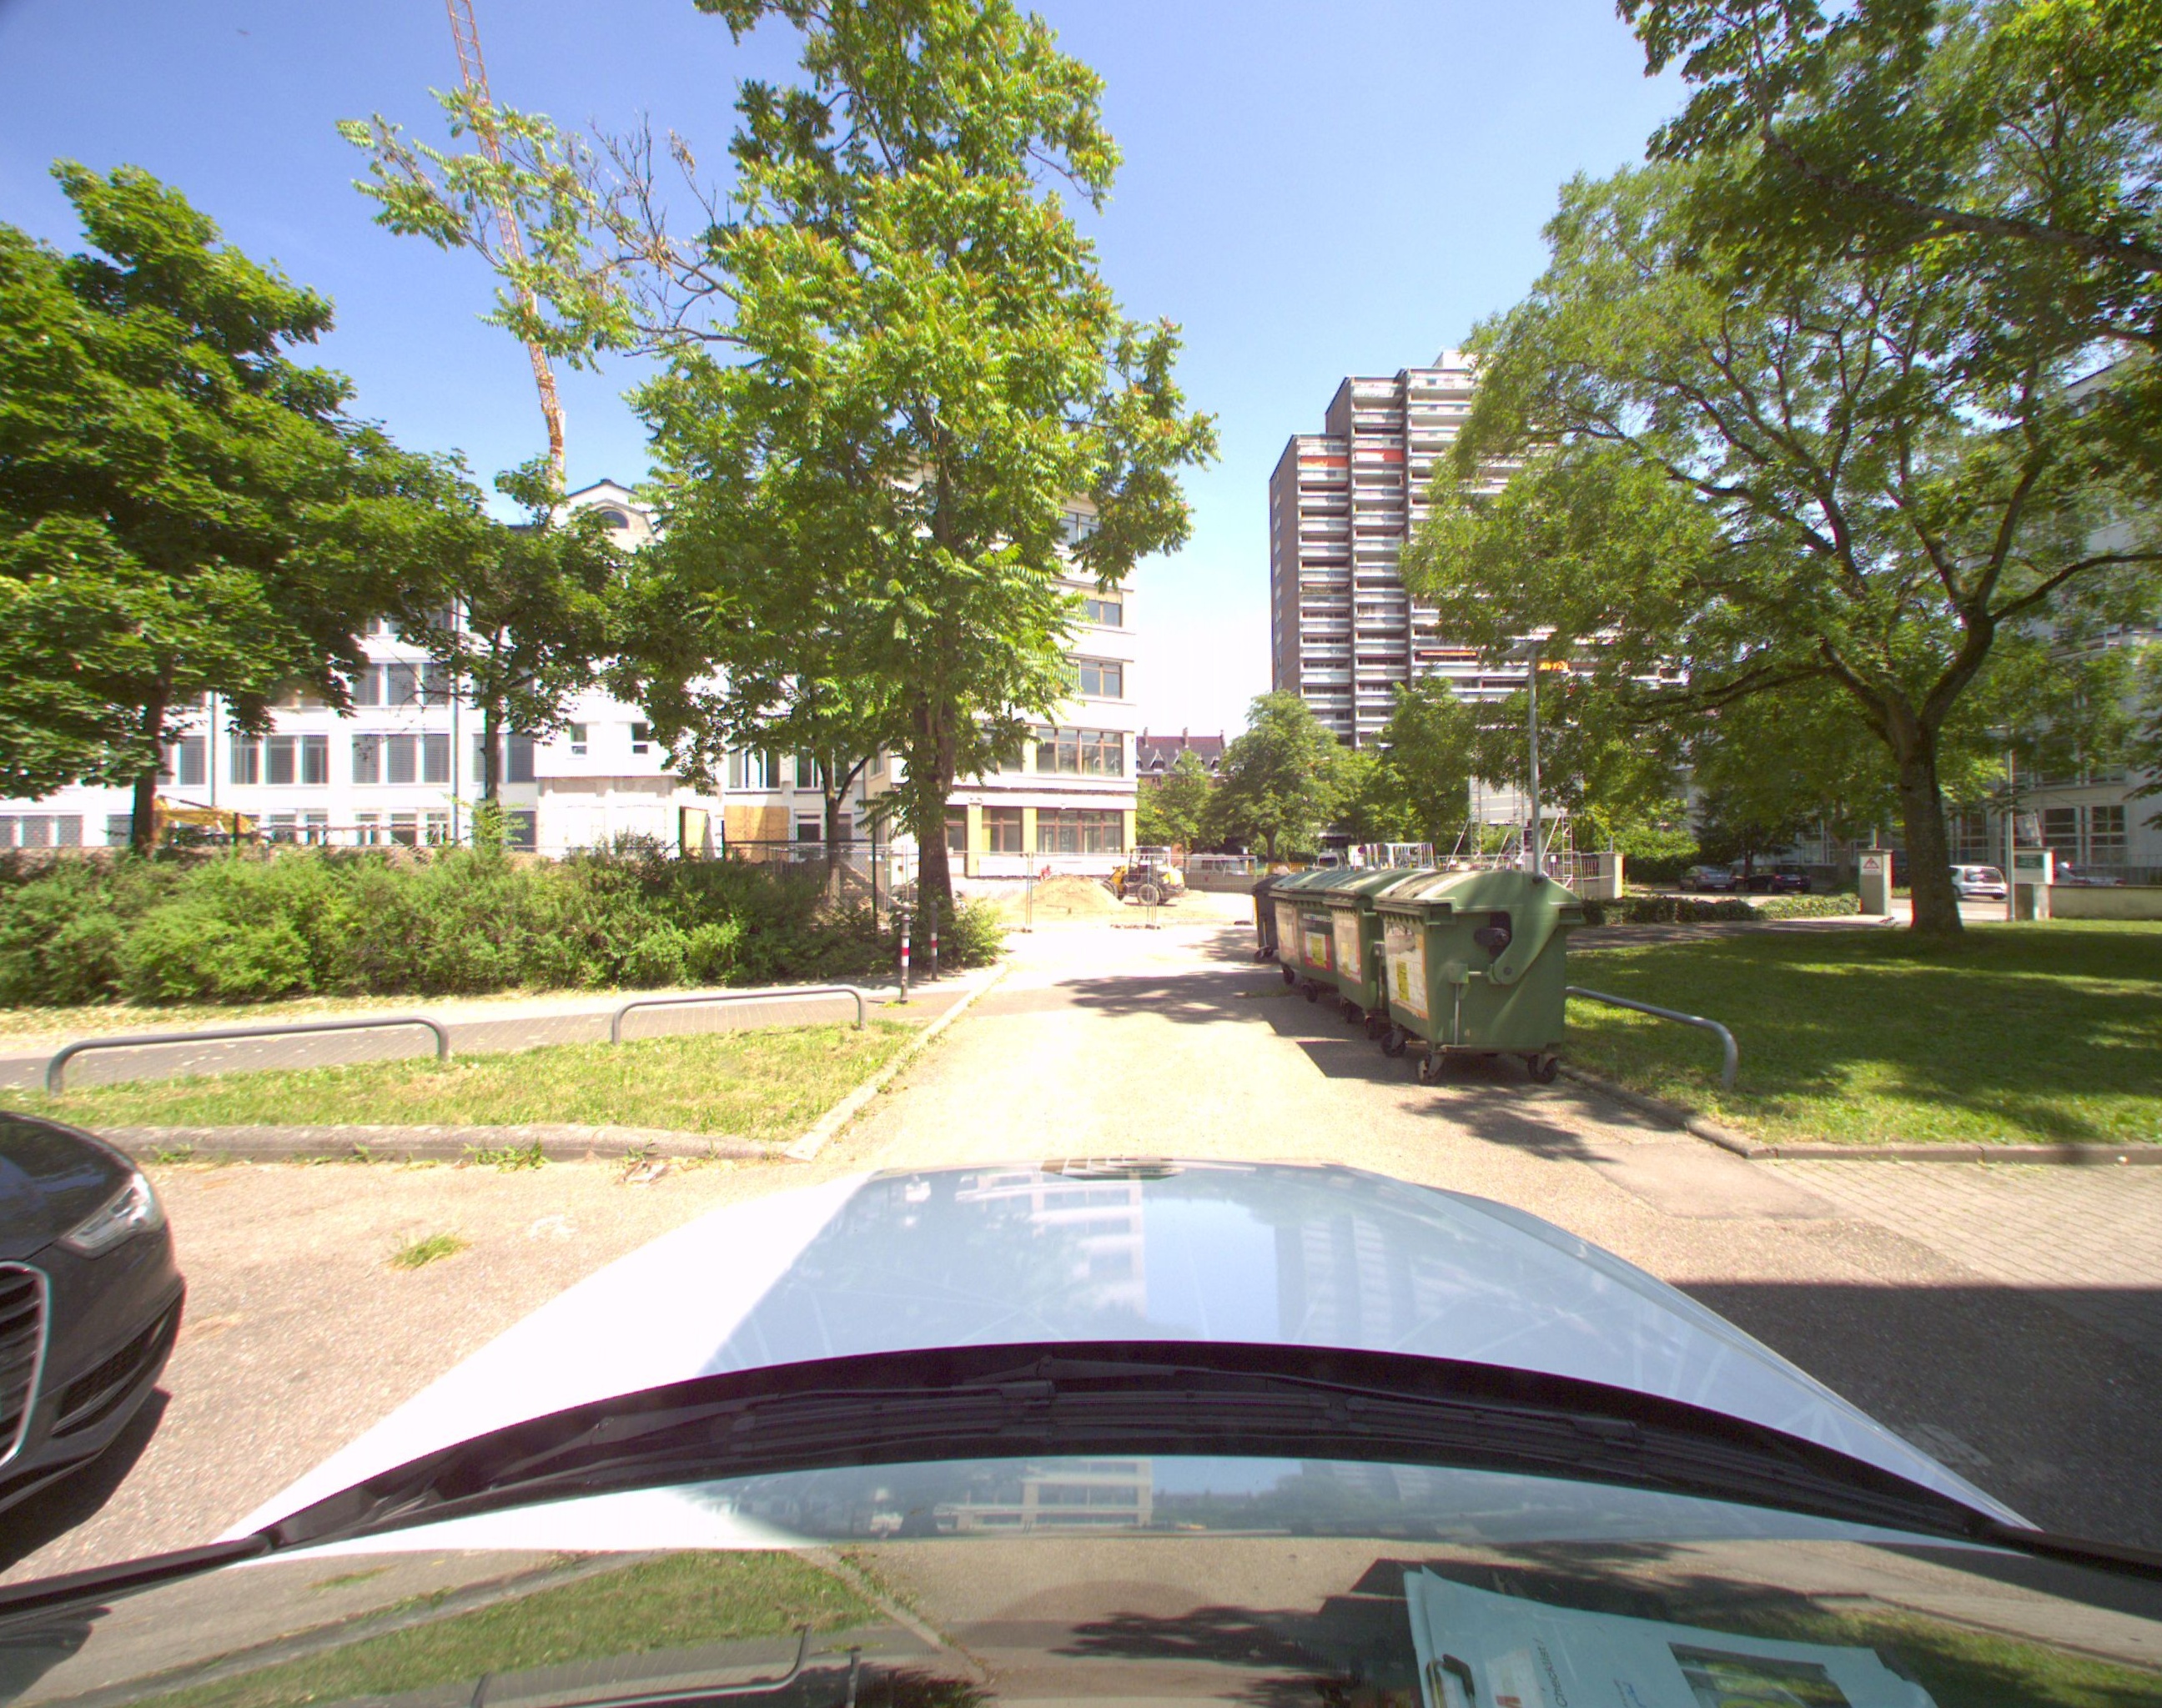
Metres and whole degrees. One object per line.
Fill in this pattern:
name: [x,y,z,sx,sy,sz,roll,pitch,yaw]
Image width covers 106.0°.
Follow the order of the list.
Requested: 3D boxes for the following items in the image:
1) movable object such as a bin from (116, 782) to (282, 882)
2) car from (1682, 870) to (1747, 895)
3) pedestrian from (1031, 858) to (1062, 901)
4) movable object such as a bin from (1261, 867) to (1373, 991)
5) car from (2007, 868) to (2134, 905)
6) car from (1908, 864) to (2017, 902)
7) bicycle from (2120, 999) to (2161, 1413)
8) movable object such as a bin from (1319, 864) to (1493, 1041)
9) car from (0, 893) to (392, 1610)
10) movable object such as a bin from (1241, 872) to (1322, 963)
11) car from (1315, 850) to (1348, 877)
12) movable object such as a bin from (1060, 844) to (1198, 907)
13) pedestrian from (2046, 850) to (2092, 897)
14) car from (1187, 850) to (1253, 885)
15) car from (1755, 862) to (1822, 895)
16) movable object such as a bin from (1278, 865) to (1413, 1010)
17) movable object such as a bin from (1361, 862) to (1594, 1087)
movable object such as a bin: [-40.202,-0.930,37.207,5.677,4.373,2.003,-1,-1,5]
car: [34.695,1.523,44.711,1.897,1.310,3.952,-1,-1,23]
pedestrian: [-1.492,1.114,35.588,0.973,1.847,0.922,-2,-2,41]
movable object such as a bin: [2.944,0.902,10.326,1.071,1.458,1.378,-1,-1,3]
car: [40.501,1.290,33.455,1.650,1.415,3.730,-1,-1,21]
car: [39.335,1.276,36.472,1.651,1.590,3.708,-1,-1,17]
bicycle: [3.080,0.938,1.351,0.403,1.102,1.827,-1,-1,2]
movable object such as a bin: [2.886,0.827,7.432,1.071,1.458,1.378,-1,-1,3]
car: [-4.384,0.847,1.593,4.410,1.380,2.026,-1,1,4]
movable object such as a bin: [3.366,1.045,13.822,1.071,1.458,1.378,-1,-1,3]
car: [21.739,0.857,70.643,2.165,2.258,4.895,-1,-1,23]
movable object such as a bin: [2.036,0.857,34.994,5.352,2.464,2.382,1,-1,28]
pedestrian: [43.653,0.864,36.002,0.984,2.014,0.882,-1,-2,26]
car: [9.972,0.978,58.954,2.004,2.416,5.196,0,-1,-27]
car: [36.444,1.229,42.074,1.992,1.629,3.955,-1,-2,32]
movable object such as a bin: [2.833,0.858,8.906,1.071,1.458,1.378,-1,-1,3]
movable object such as a bin: [2.810,0.797,5.990,1.071,1.458,1.378,-1,-1,3]
